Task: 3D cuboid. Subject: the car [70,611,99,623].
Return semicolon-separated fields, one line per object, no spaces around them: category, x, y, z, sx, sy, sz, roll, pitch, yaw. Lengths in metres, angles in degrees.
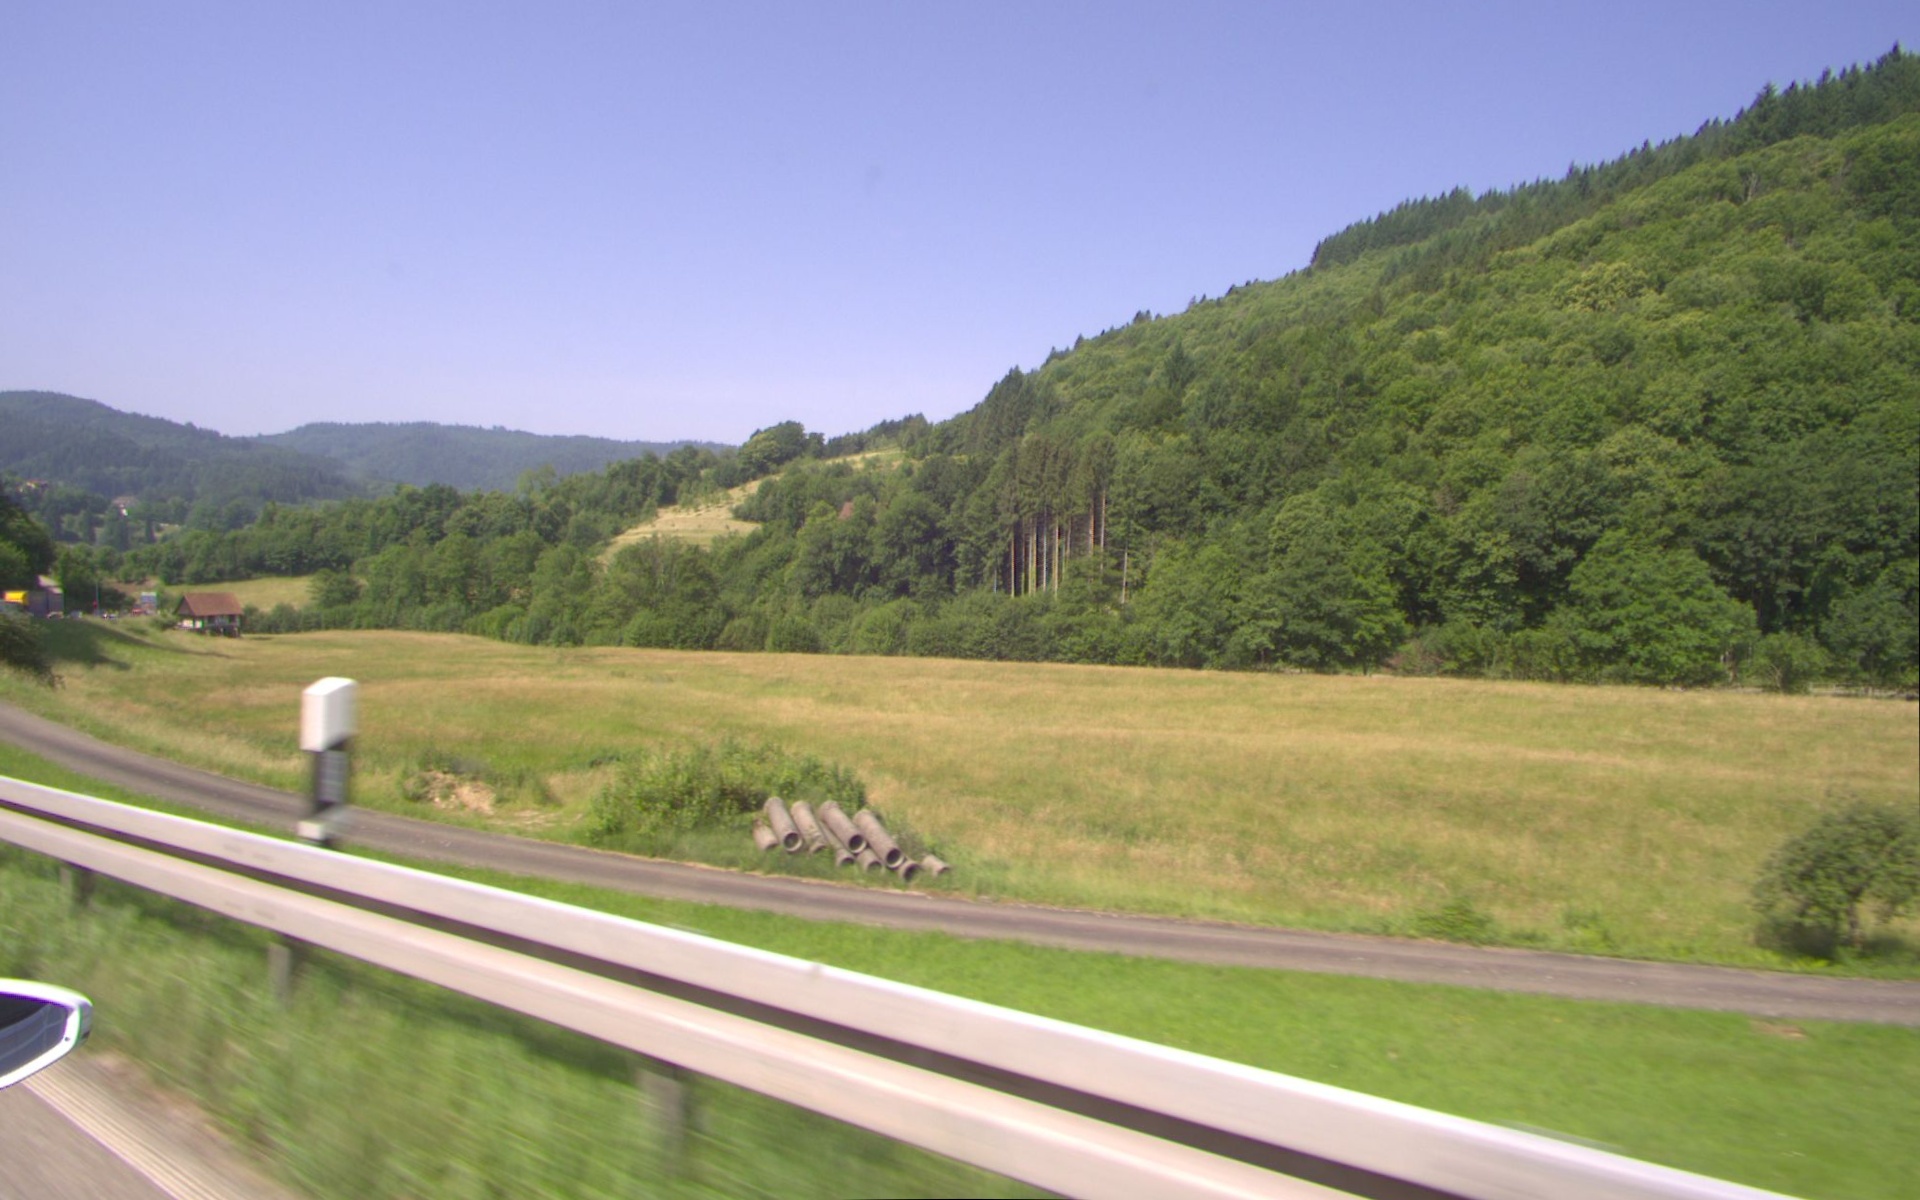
car;-114.737;2.212;131.244;1.885;1.505;3.982;4;-2;-27

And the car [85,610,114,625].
car;-119.392;2.461;139.022;1.969;1.950;3.984;2;-1;-25

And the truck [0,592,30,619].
truck;-104.693;0.594;110.011;2.213;2.839;6.201;2;-2;-30

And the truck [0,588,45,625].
truck;-118.591;0.737;126.441;3.156;4.454;6.531;2;-1;-32
